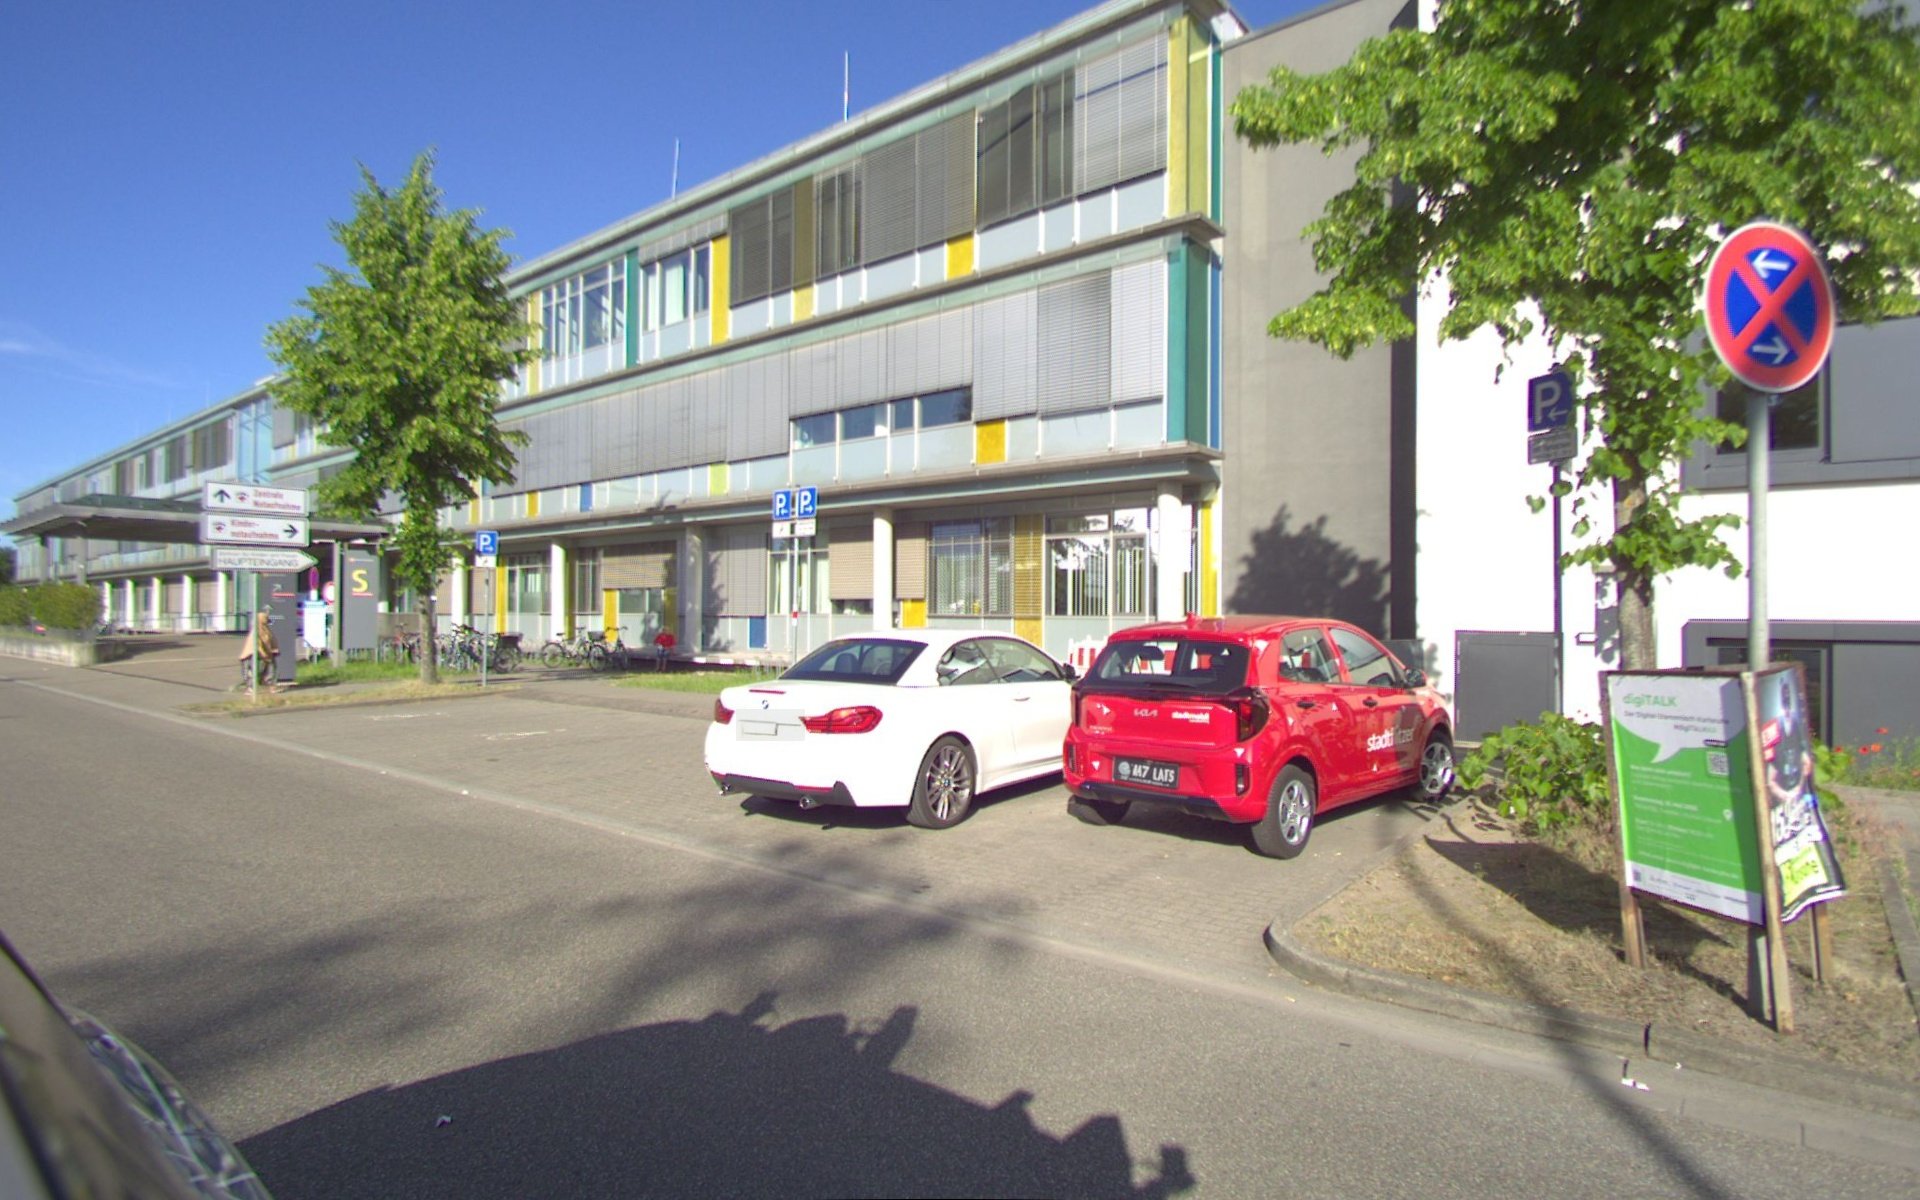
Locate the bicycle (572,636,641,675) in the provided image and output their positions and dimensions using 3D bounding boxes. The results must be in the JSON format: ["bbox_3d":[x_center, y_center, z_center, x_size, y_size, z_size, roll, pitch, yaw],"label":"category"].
[{"bbox_3d":[-9.390,1.454,26.922,0.535,1.001,1.698,-1,-2,38],"label":"bicycle"}]

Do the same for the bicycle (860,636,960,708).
[{"bbox_3d":[-0.853,1.175,16.863,1.861,1.120,0.528,-1,-2,44],"label":"bicycle"}]

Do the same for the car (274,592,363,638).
[{"bbox_3d":[-27.992,0.690,44.091,4.707,1.905,1.900,-1,-2,40],"label":"car"}]

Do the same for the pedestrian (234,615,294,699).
[{"bbox_3d":[-13.431,1.075,19.524,0.779,1.561,0.765,0,1,40],"label":"pedestrian"}]

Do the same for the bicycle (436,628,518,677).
[{"bbox_3d":[-11.492,1.240,24.107,0.536,1.130,1.683,-2,-2,45],"label":"bicycle"}]

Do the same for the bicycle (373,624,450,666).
[{"bbox_3d":[-14.285,1.164,26.400,0.535,1.063,1.698,-1,-2,38],"label":"bicycle"}]

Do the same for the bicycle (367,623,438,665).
[{"bbox_3d":[-15.737,1.231,28.612,0.534,1.132,1.703,-1,-2,30],"label":"bicycle"}]

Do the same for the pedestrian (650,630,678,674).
[{"bbox_3d":[-8.045,1.399,27.493,0.555,1.182,0.526,-1,-2,41],"label":"pedestrian"}]

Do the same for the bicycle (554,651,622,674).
[{"bbox_3d":[-10.082,1.688,27.441,0.535,0.555,1.698,-1,-2,38],"label":"bicycle"}]

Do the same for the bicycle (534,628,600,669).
[{"bbox_3d":[-11.188,1.369,28.854,0.535,1.132,1.698,-1,-2,38],"label":"bicycle"}]

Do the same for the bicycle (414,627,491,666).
[{"bbox_3d":[-13.050,1.177,26.061,0.535,0.981,1.698,-1,-2,38],"label":"bicycle"}]

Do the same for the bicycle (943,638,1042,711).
[{"bbox_3d":[0.506,1.194,16.609,1.763,1.132,0.416,-1,-2,41],"label":"bicycle"}]

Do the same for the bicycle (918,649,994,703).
[{"bbox_3d":[-0.079,1.302,17.620,1.450,0.870,0.365,-1,-2,41],"label":"bicycle"}]

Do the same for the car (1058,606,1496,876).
[{"bbox_3d":[2.519,0.820,7.573,3.593,1.480,1.615,-1,-1,-45],"label":"car"}]

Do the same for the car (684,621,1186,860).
[{"bbox_3d":[0.074,0.916,8.523,1.698,1.378,4.466,-1,0,40],"label":"car"}]
